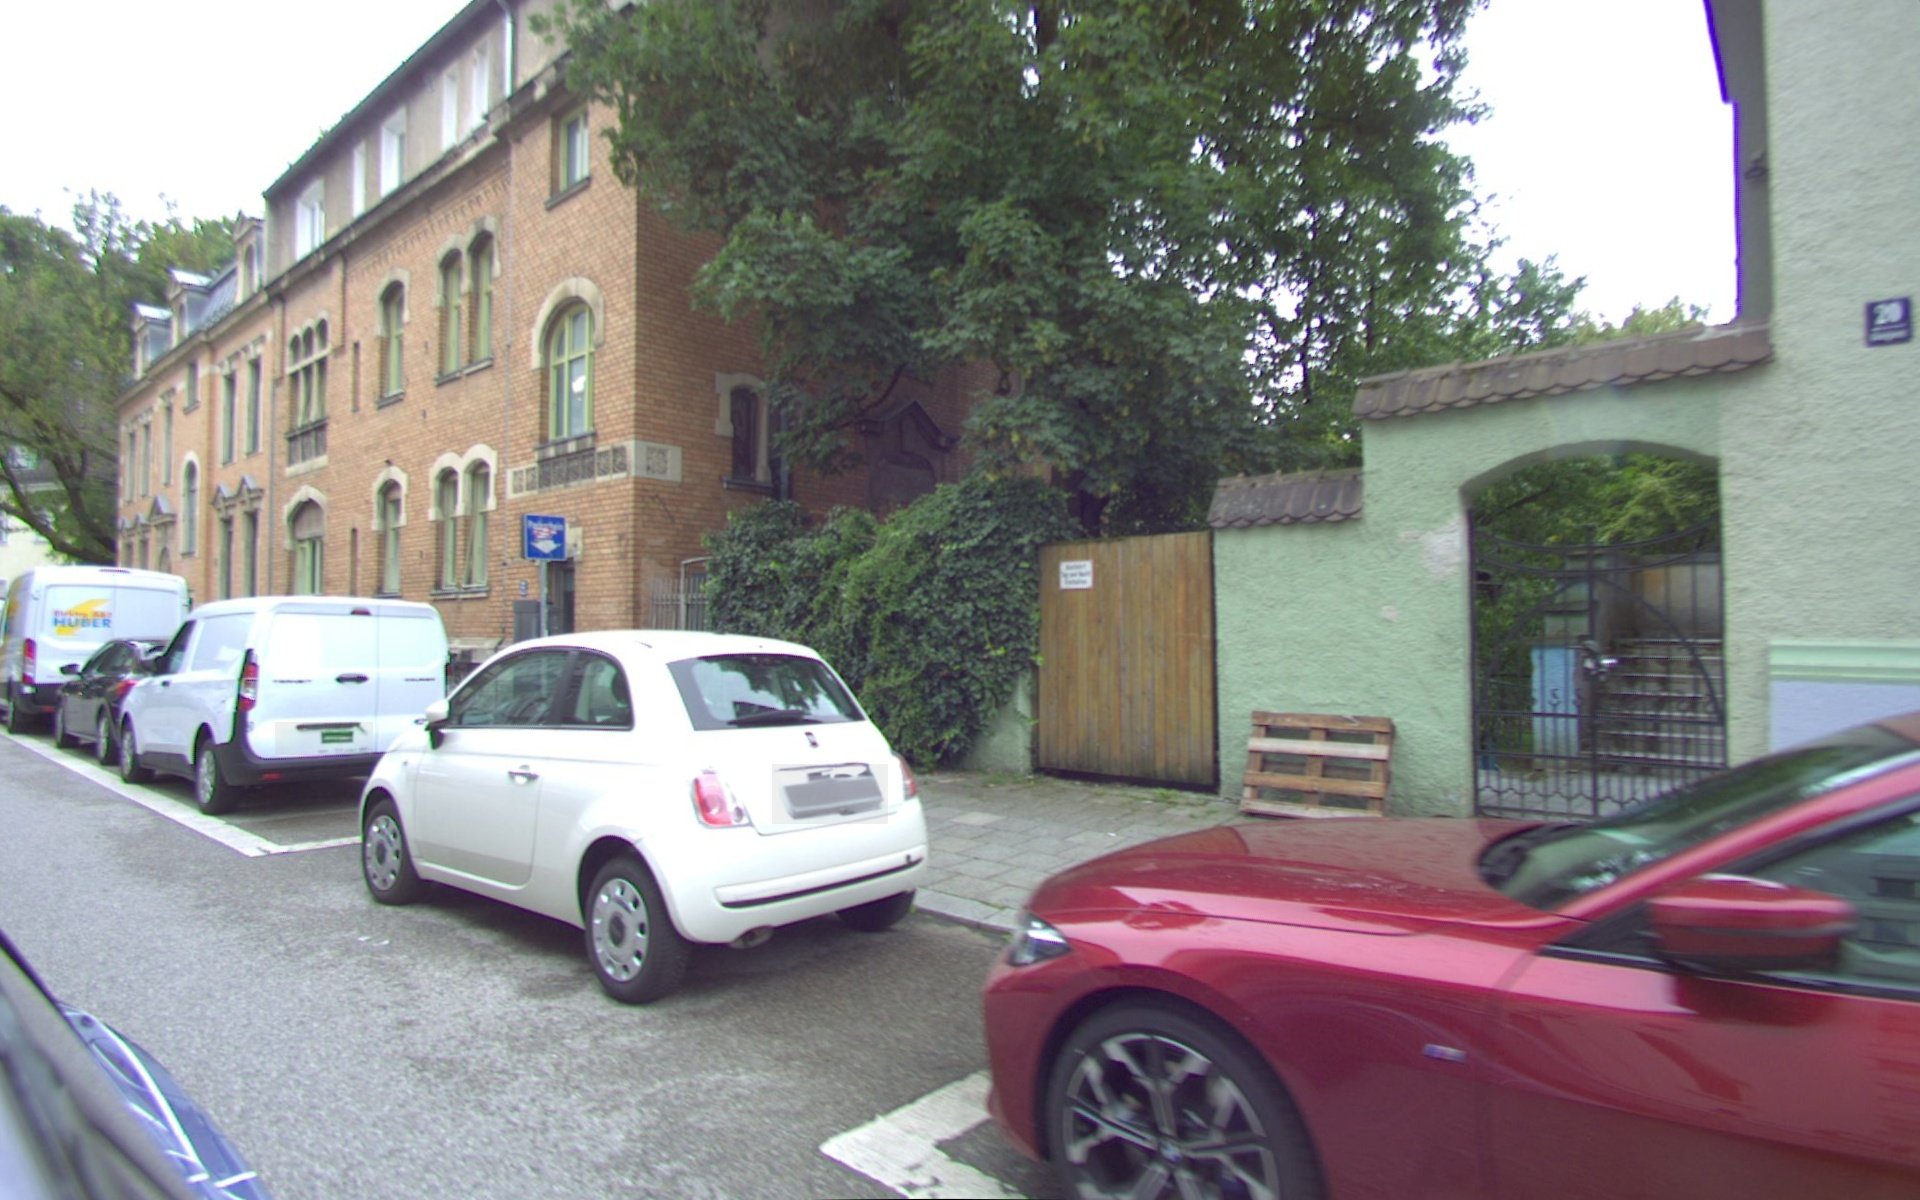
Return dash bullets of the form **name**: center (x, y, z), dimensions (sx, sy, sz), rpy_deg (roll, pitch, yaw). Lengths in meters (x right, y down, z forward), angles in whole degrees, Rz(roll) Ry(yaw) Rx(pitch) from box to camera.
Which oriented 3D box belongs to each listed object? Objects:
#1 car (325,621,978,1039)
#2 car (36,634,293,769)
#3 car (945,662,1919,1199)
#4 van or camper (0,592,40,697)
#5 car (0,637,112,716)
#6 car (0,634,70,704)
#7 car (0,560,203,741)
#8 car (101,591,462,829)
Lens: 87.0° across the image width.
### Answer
- **car**: center (-1.776, 0.896, 5.363), dimensions (3.517, 1.479, 1.610), rpy_deg (-2, -4, 39)
- **car**: center (-10.122, 1.181, 12.772), dimensions (4.163, 1.431, 1.697), rpy_deg (-2, -4, 40)
- **car**: center (2.188, 0.823, 1.858), dimensions (4.399, 1.378, 1.728), rpy_deg (-2, -4, 40)
- **van or camper**: center (-26.697, 1.199, 27.290), dimensions (4.954, 2.682, 2.089), rpy_deg (-2, -4, 40)
- **car**: center (-18.339, 1.469, 20.013), dimensions (3.789, 1.426, 1.747), rpy_deg (-2, -4, 40)
- **car**: center (-22.130, 1.572, 23.368), dimensions (4.077, 1.512, 1.747), rpy_deg (-2, -4, 40)
- **car**: center (-14.370, 0.814, 16.466), dimensions (5.227, 2.495, 2.090), rpy_deg (-2, -4, 40)
- **car**: center (-6.549, 0.922, 9.593), dimensions (4.247, 1.769, 1.697), rpy_deg (-2, -4, 40)
